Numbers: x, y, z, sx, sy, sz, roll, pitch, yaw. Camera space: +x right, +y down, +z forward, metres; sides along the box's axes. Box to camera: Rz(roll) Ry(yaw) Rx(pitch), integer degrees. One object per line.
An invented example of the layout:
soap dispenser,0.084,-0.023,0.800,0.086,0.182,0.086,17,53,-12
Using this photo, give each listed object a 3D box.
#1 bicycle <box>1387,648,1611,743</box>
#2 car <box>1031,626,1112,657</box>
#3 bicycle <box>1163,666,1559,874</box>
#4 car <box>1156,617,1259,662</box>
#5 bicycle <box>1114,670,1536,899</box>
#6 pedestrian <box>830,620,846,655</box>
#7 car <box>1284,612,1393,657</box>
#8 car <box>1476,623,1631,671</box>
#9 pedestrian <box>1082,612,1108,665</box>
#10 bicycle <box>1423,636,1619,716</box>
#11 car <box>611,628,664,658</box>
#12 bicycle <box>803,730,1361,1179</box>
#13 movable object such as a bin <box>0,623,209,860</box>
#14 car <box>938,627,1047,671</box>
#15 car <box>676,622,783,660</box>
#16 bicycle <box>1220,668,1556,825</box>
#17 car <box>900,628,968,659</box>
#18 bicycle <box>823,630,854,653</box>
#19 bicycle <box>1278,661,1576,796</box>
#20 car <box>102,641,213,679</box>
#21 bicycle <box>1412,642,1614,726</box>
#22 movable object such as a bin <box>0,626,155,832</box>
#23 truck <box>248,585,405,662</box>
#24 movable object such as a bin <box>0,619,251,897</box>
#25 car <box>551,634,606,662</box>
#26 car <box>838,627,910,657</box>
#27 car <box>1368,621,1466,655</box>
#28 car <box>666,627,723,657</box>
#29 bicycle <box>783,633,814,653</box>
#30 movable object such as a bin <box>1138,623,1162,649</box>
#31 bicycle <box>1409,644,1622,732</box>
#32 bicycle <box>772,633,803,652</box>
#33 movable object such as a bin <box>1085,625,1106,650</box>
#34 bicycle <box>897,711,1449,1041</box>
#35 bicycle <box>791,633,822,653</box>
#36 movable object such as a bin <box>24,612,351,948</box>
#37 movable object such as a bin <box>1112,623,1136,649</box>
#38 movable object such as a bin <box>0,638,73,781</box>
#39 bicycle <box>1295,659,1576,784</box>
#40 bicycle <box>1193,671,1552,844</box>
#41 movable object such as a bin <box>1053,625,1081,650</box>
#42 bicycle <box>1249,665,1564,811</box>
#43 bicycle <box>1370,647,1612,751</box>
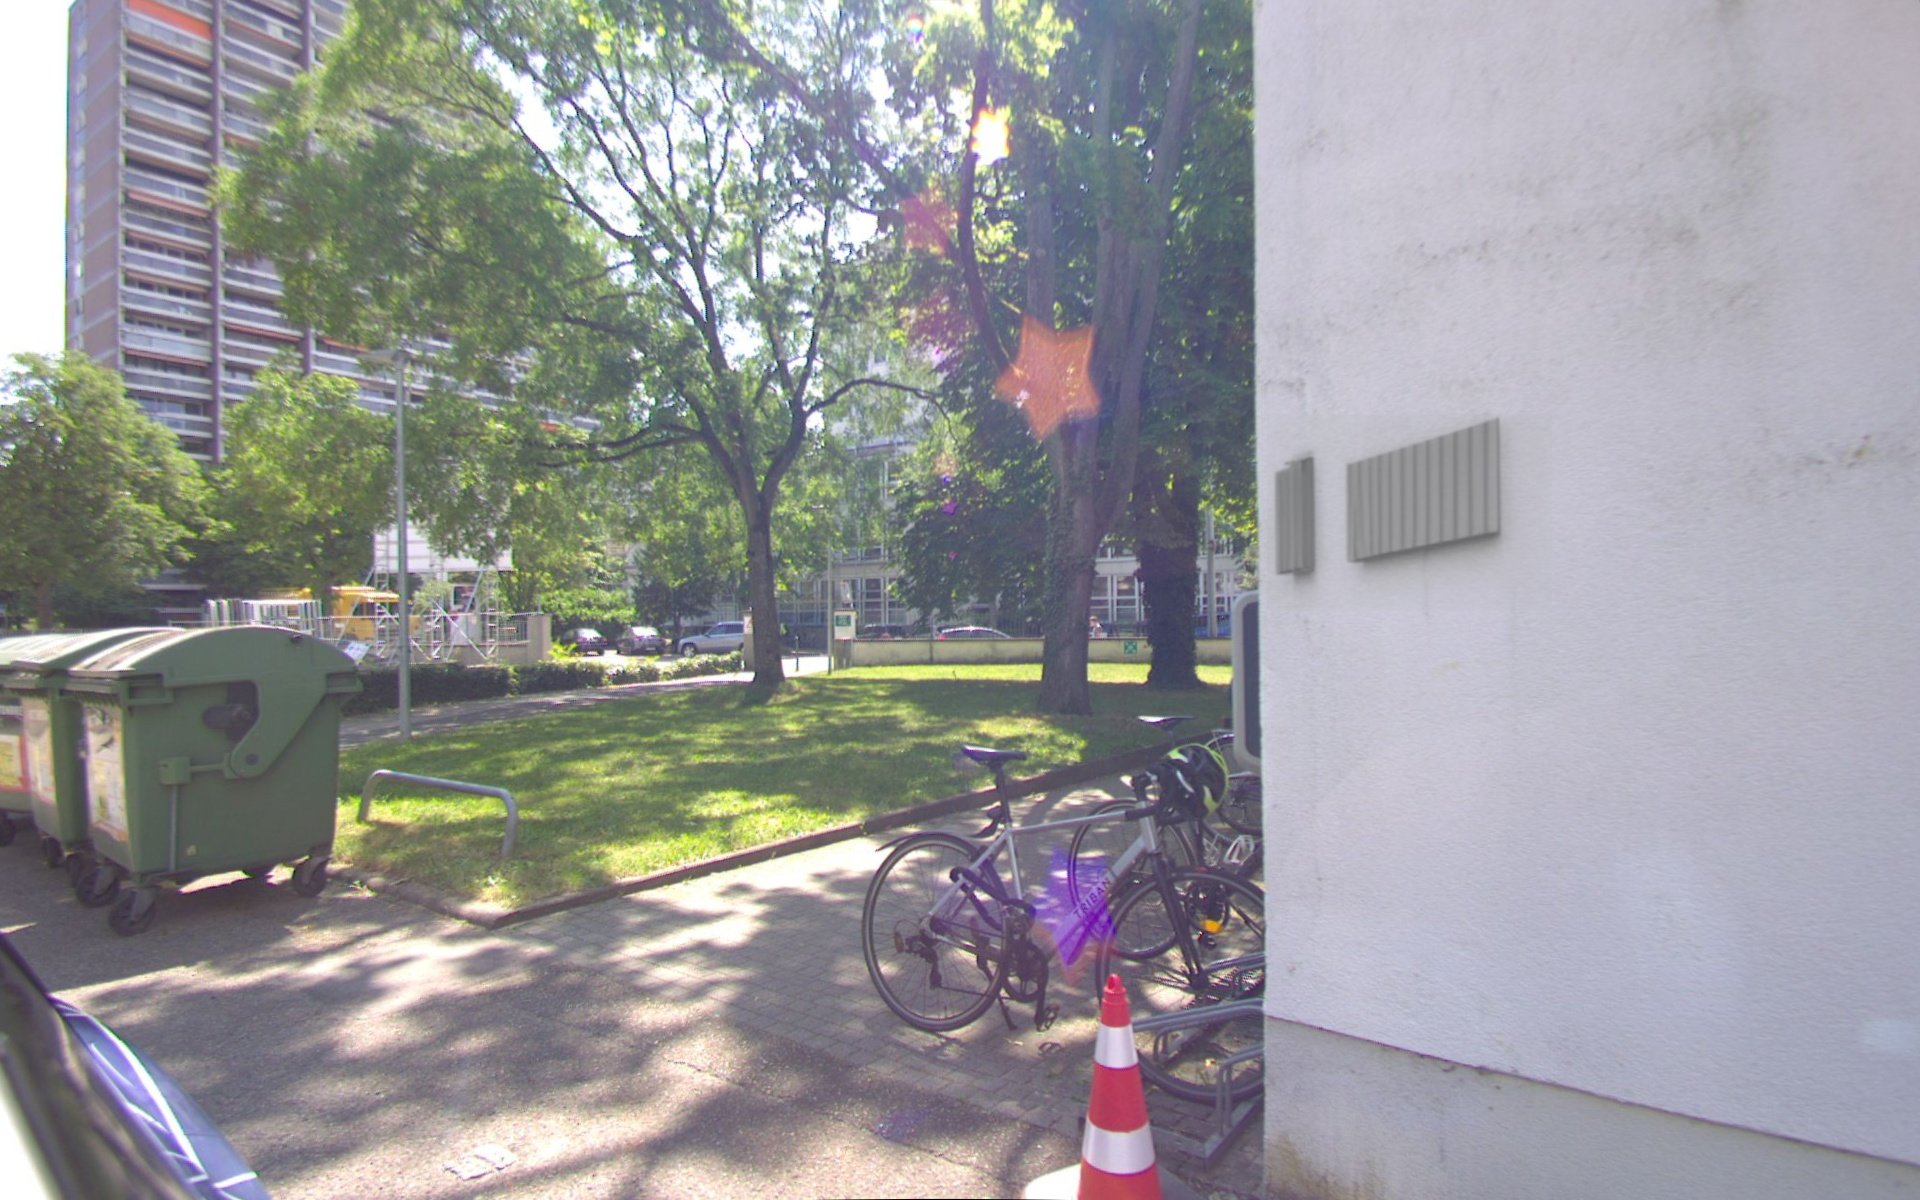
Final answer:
bicycle,6.279,1.093,11.907,2.250,1.019,0.601,-2,-2,29
car,5.489,2.037,50.143,1.687,1.424,3.989,1,-2,-38
bicycle,2.467,0.986,6.472,2.257,1.090,0.599,-3,-2,39
car,11.849,1.874,48.761,1.967,2.029,4.641,1,-2,-37
bicycle,2.058,0.982,5.987,2.257,1.090,0.599,-3,-2,39
pedestrian,-6.677,2.062,55.461,0.574,1.889,0.710,-1,-2,22
car,17.917,1.609,48.138,1.965,2.029,4.645,0,-2,-29
car,18.766,1.495,32.177,3.733,1.455,1.945,-1,-2,11
pedestrian,4.092,1.175,30.790,0.735,1.579,0.696,-1,-1,7
bicycle,7.568,1.016,13.759,2.250,1.019,0.626,-2,-2,29
car,-17.157,2.275,53.722,1.789,1.474,4.034,0,-1,-31
bicycle,0.309,0.977,3.293,1.728,0.965,0.606,-3,-2,39
movable object such as a bin,-6.323,0.920,7.191,1.353,1.491,1.087,-2,-2,26
car,1.152,1.713,34.893,3.679,1.468,1.586,-1,-4,6
car,-10.509,1.876,46.263,4.345,1.619,1.996,-1,-1,6
bicycle,3.184,1.041,7.678,2.253,1.019,0.600,-2,-2,34
car,-1.339,2.198,51.673,1.726,1.473,3.547,1,-2,-37
bicycle,-7.037,2.395,58.528,0.568,1.247,1.918,-2,-2,40
bicycle,3.968,1.051,8.722,2.253,1.019,0.600,-2,-2,34
car,-31.954,2.373,40.324,3.547,1.451,1.616,-1,-2,13
bicycle,7.177,1.082,13.239,2.250,1.019,0.564,-2,-2,29
movable object such as a bin,-7.372,0.965,8.028,1.321,1.491,1.194,-2,-2,34
truck,-35.576,1.349,56.698,9.690,4.036,2.727,-2,-1,26
movable object such as a bin,-5.215,0.872,6.252,1.260,1.491,1.034,-2,-2,37
car,-20.097,2.504,53.230,1.603,1.383,4.031,0,-2,-38
car,-4.461,2.165,52.173,1.726,1.481,4.206,1,-2,-37
car,21.361,1.766,47.451,1.642,1.497,4.013,0,-2,-26
car,-14.028,2.210,53.343,1.623,1.528,3.583,0,-2,-37
bicycle,-9.532,2.511,59.742,0.568,1.139,1.918,-2,-2,40
movable object such as a bin,10.309,1.950,54.867,1.171,1.409,1.032,-1,-2,17
bicycle,6.887,1.079,12.662,2.250,1.019,0.601,-2,-2,29
bicycle,-10.299,2.528,60.362,0.568,1.139,1.918,-2,-2,40
movable object such as a bin,7.427,2.037,55.309,1.065,1.340,0.968,-1,-2,10
bicycle,0.773,1.018,4.305,2.257,0.965,0.599,-3,-2,39
bicycle,-8.955,2.514,59.200,0.568,1.139,1.918,-2,-2,40
movable object such as a bin,-4.088,0.825,5.358,1.408,1.491,1.034,-2,-2,37
movable object such as a bin,8.939,1.978,55.173,1.171,1.409,1.032,-1,-2,17
movable object such as a bin,-10.031,1.108,10.444,1.097,1.405,1.164,0,-2,-30
bicycle,4.321,1.063,9.302,2.253,1.019,0.600,-2,-2,34
bicycle,2.837,1.035,7.129,2.253,1.019,0.600,-2,-2,34
movable object such as a bin,5.883,2.063,55.507,1.436,1.340,1.122,-1,-2,10
bicycle,3.567,1.056,8.216,2.253,1.019,0.600,-2,-2,34
bicycle,5.710,1.040,10.981,2.253,1.019,0.600,-2,-2,34
